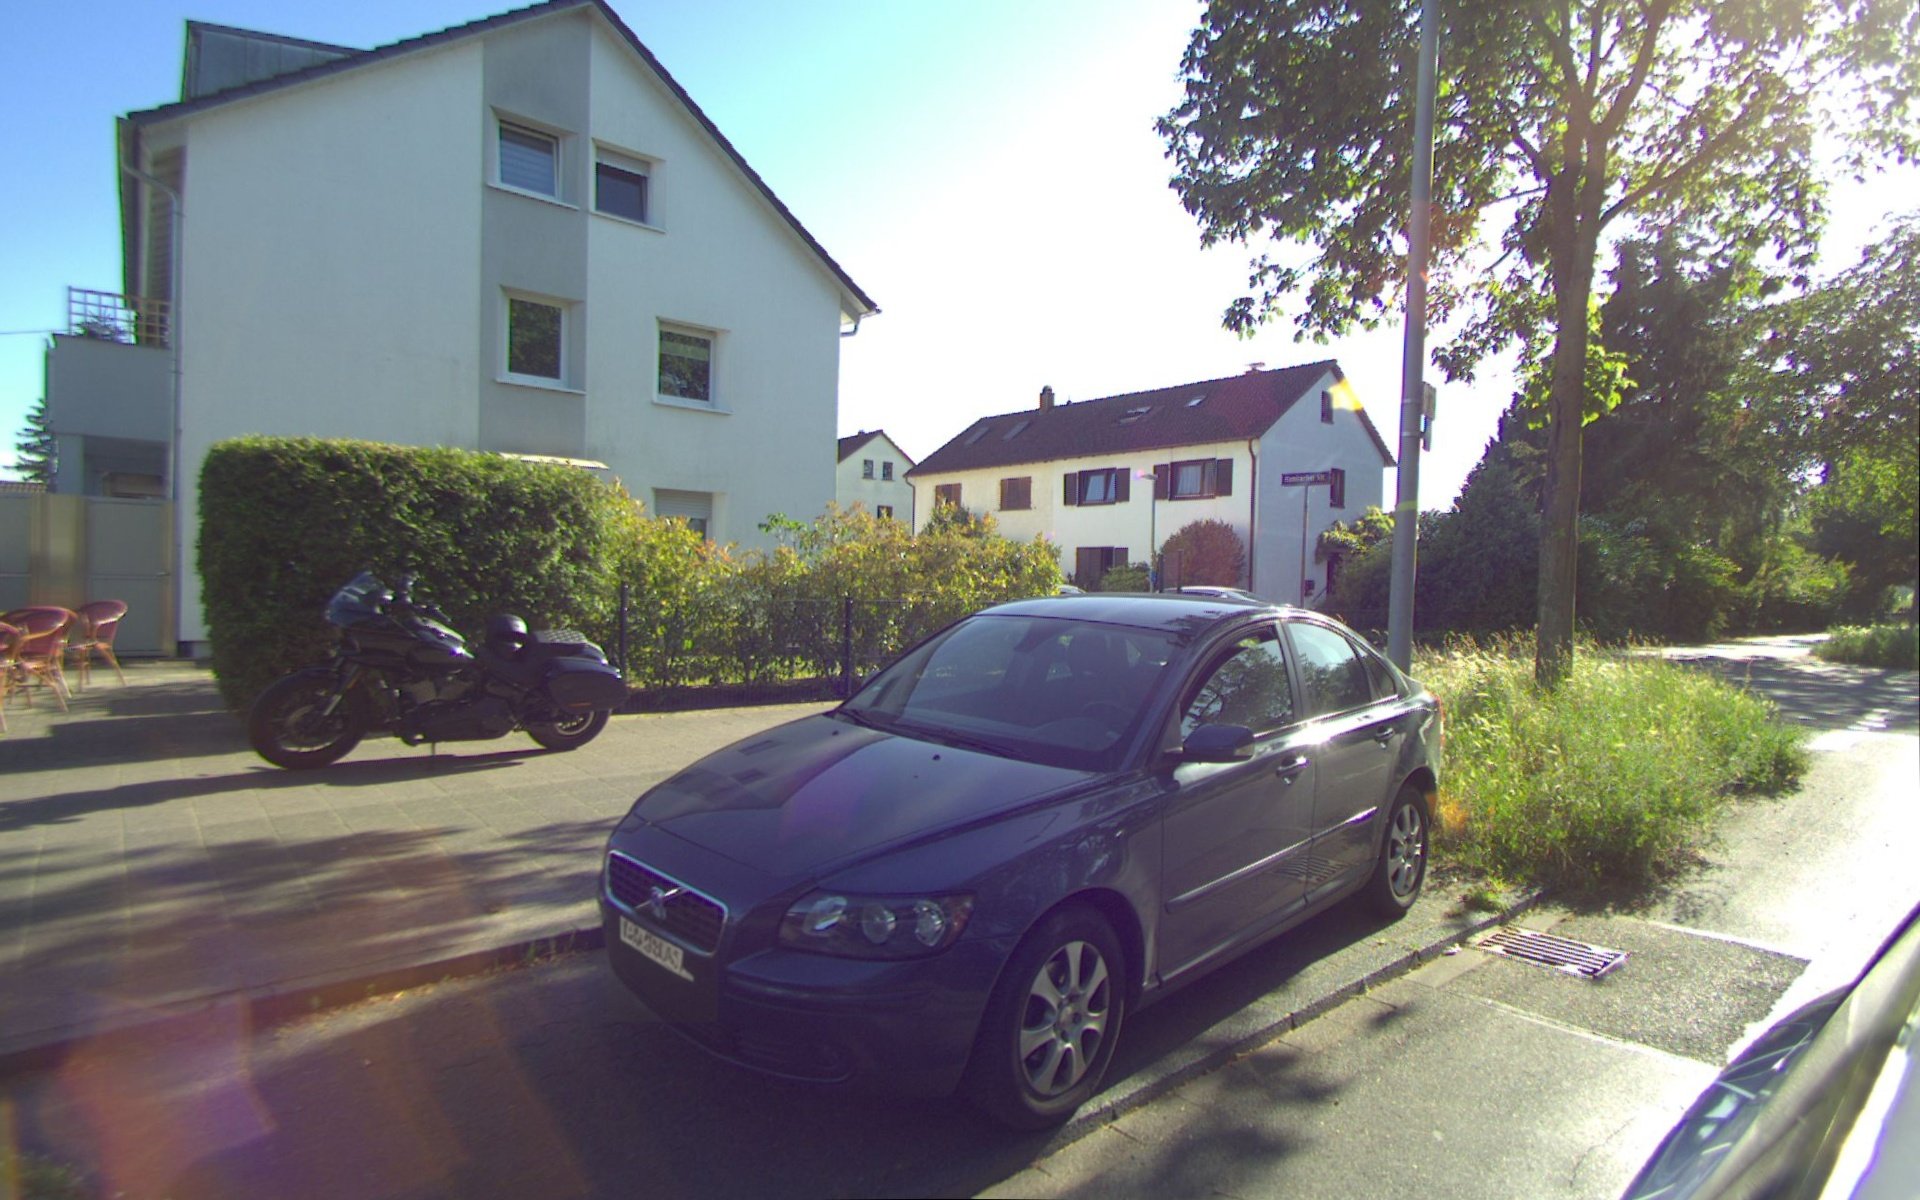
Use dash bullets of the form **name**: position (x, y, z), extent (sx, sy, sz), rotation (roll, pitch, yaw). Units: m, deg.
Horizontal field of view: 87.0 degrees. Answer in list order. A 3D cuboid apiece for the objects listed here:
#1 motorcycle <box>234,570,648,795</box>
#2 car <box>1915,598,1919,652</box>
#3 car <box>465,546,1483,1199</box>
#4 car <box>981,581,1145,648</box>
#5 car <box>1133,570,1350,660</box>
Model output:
- **motorcycle**: position (-3.366, 0.458, 6.737), extent (2.311, 1.242, 0.819), rotation (1, 2, -41)
- **car**: position (29.810, 0.746, 29.502), extent (3.923, 1.529, 2.001), rotation (-1, 2, -34)
- **car**: position (0.495, 0.737, 4.356), extent (1.993, 1.643, 4.313), rotation (-3, -2, 43)
- **car**: position (2.466, 0.314, 24.756), extent (1.817, 1.462, 3.754), rotation (1, 1, -41)
- **car**: position (5.755, 0.238, 20.975), extent (3.988, 1.660, 1.748), rotation (2, 1, 44)
